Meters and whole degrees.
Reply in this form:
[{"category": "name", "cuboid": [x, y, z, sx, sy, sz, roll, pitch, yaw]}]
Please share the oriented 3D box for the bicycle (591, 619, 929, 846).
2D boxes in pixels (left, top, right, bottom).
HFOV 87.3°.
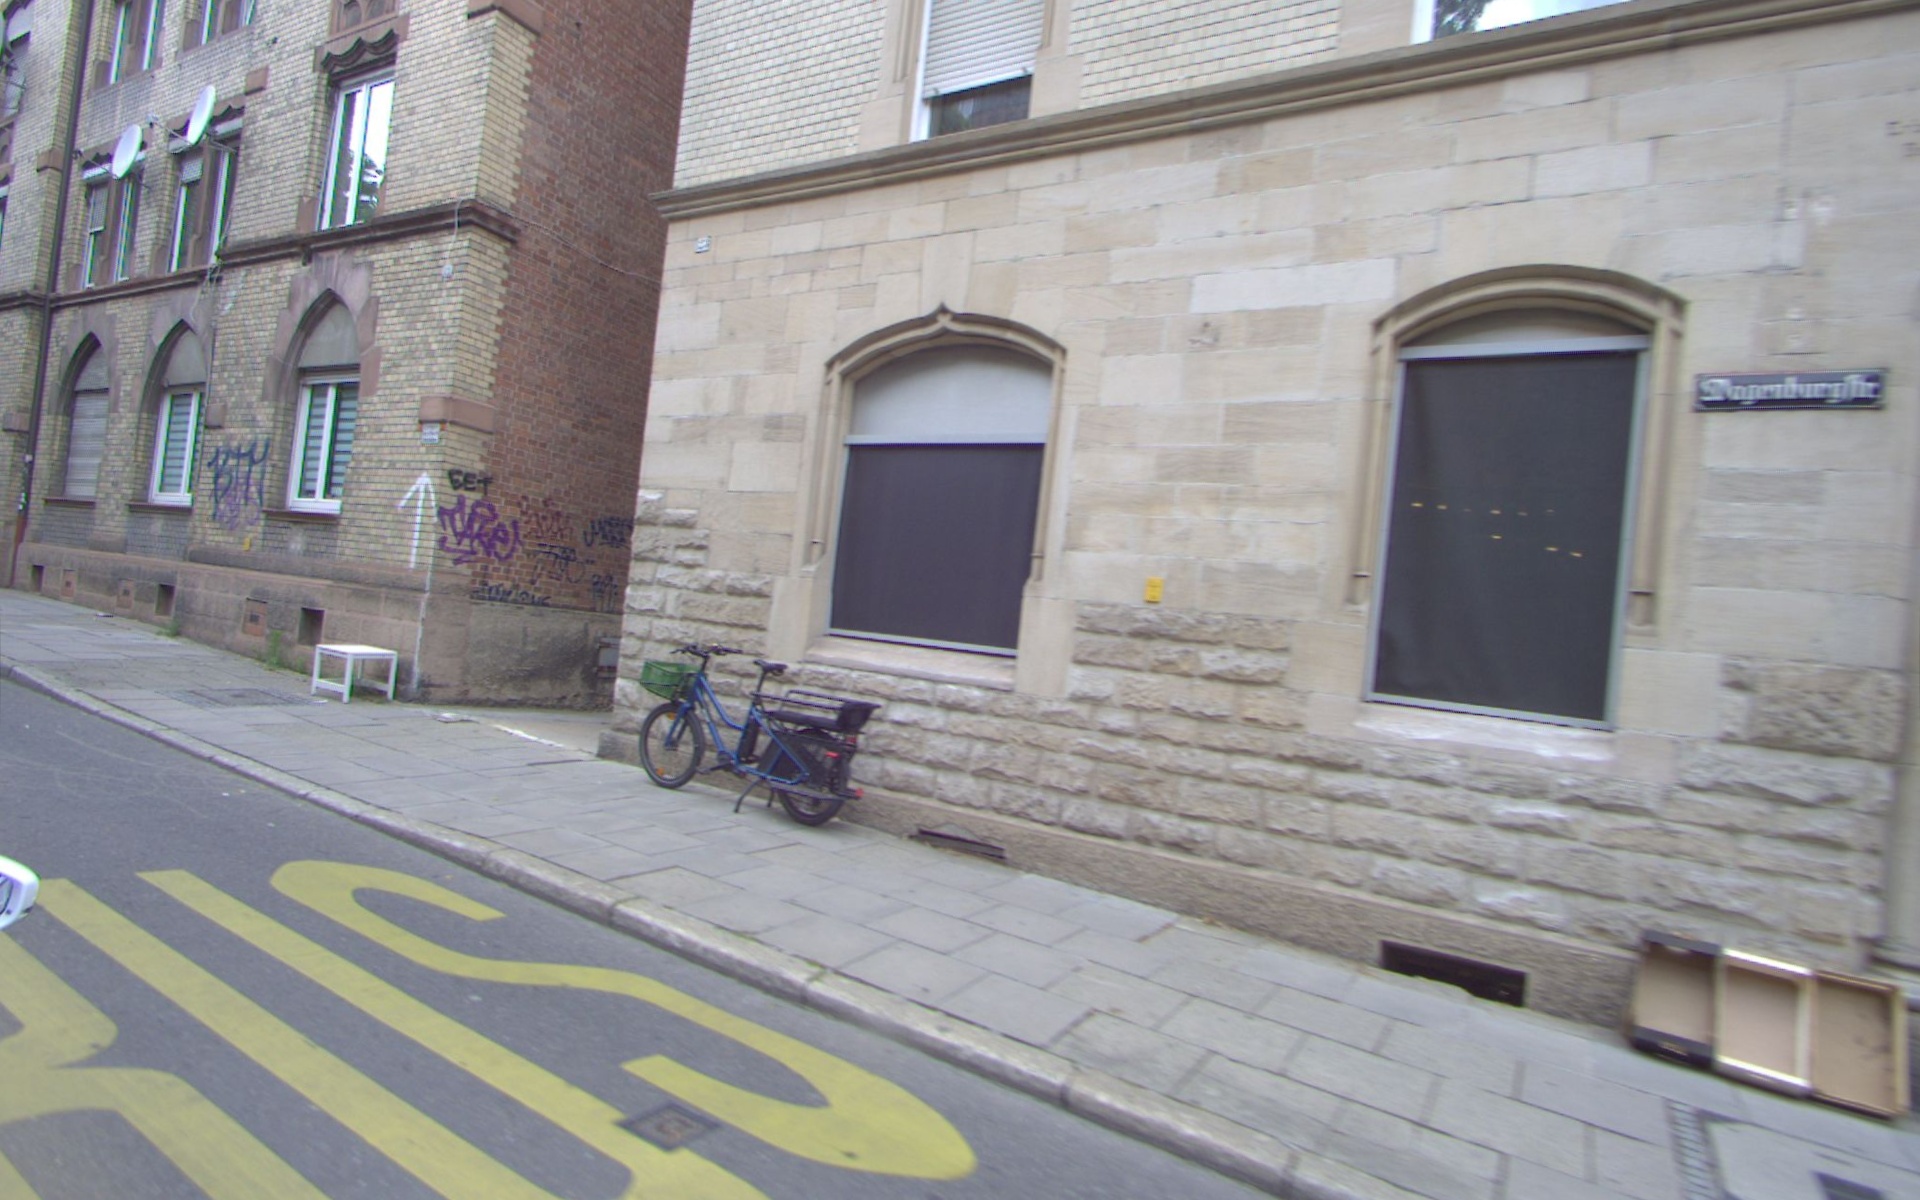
[{"category": "bicycle", "cuboid": [-1.478, 0.858, 7.129, 2.443, 1.163, 0.682, 6, -1, 33]}]
